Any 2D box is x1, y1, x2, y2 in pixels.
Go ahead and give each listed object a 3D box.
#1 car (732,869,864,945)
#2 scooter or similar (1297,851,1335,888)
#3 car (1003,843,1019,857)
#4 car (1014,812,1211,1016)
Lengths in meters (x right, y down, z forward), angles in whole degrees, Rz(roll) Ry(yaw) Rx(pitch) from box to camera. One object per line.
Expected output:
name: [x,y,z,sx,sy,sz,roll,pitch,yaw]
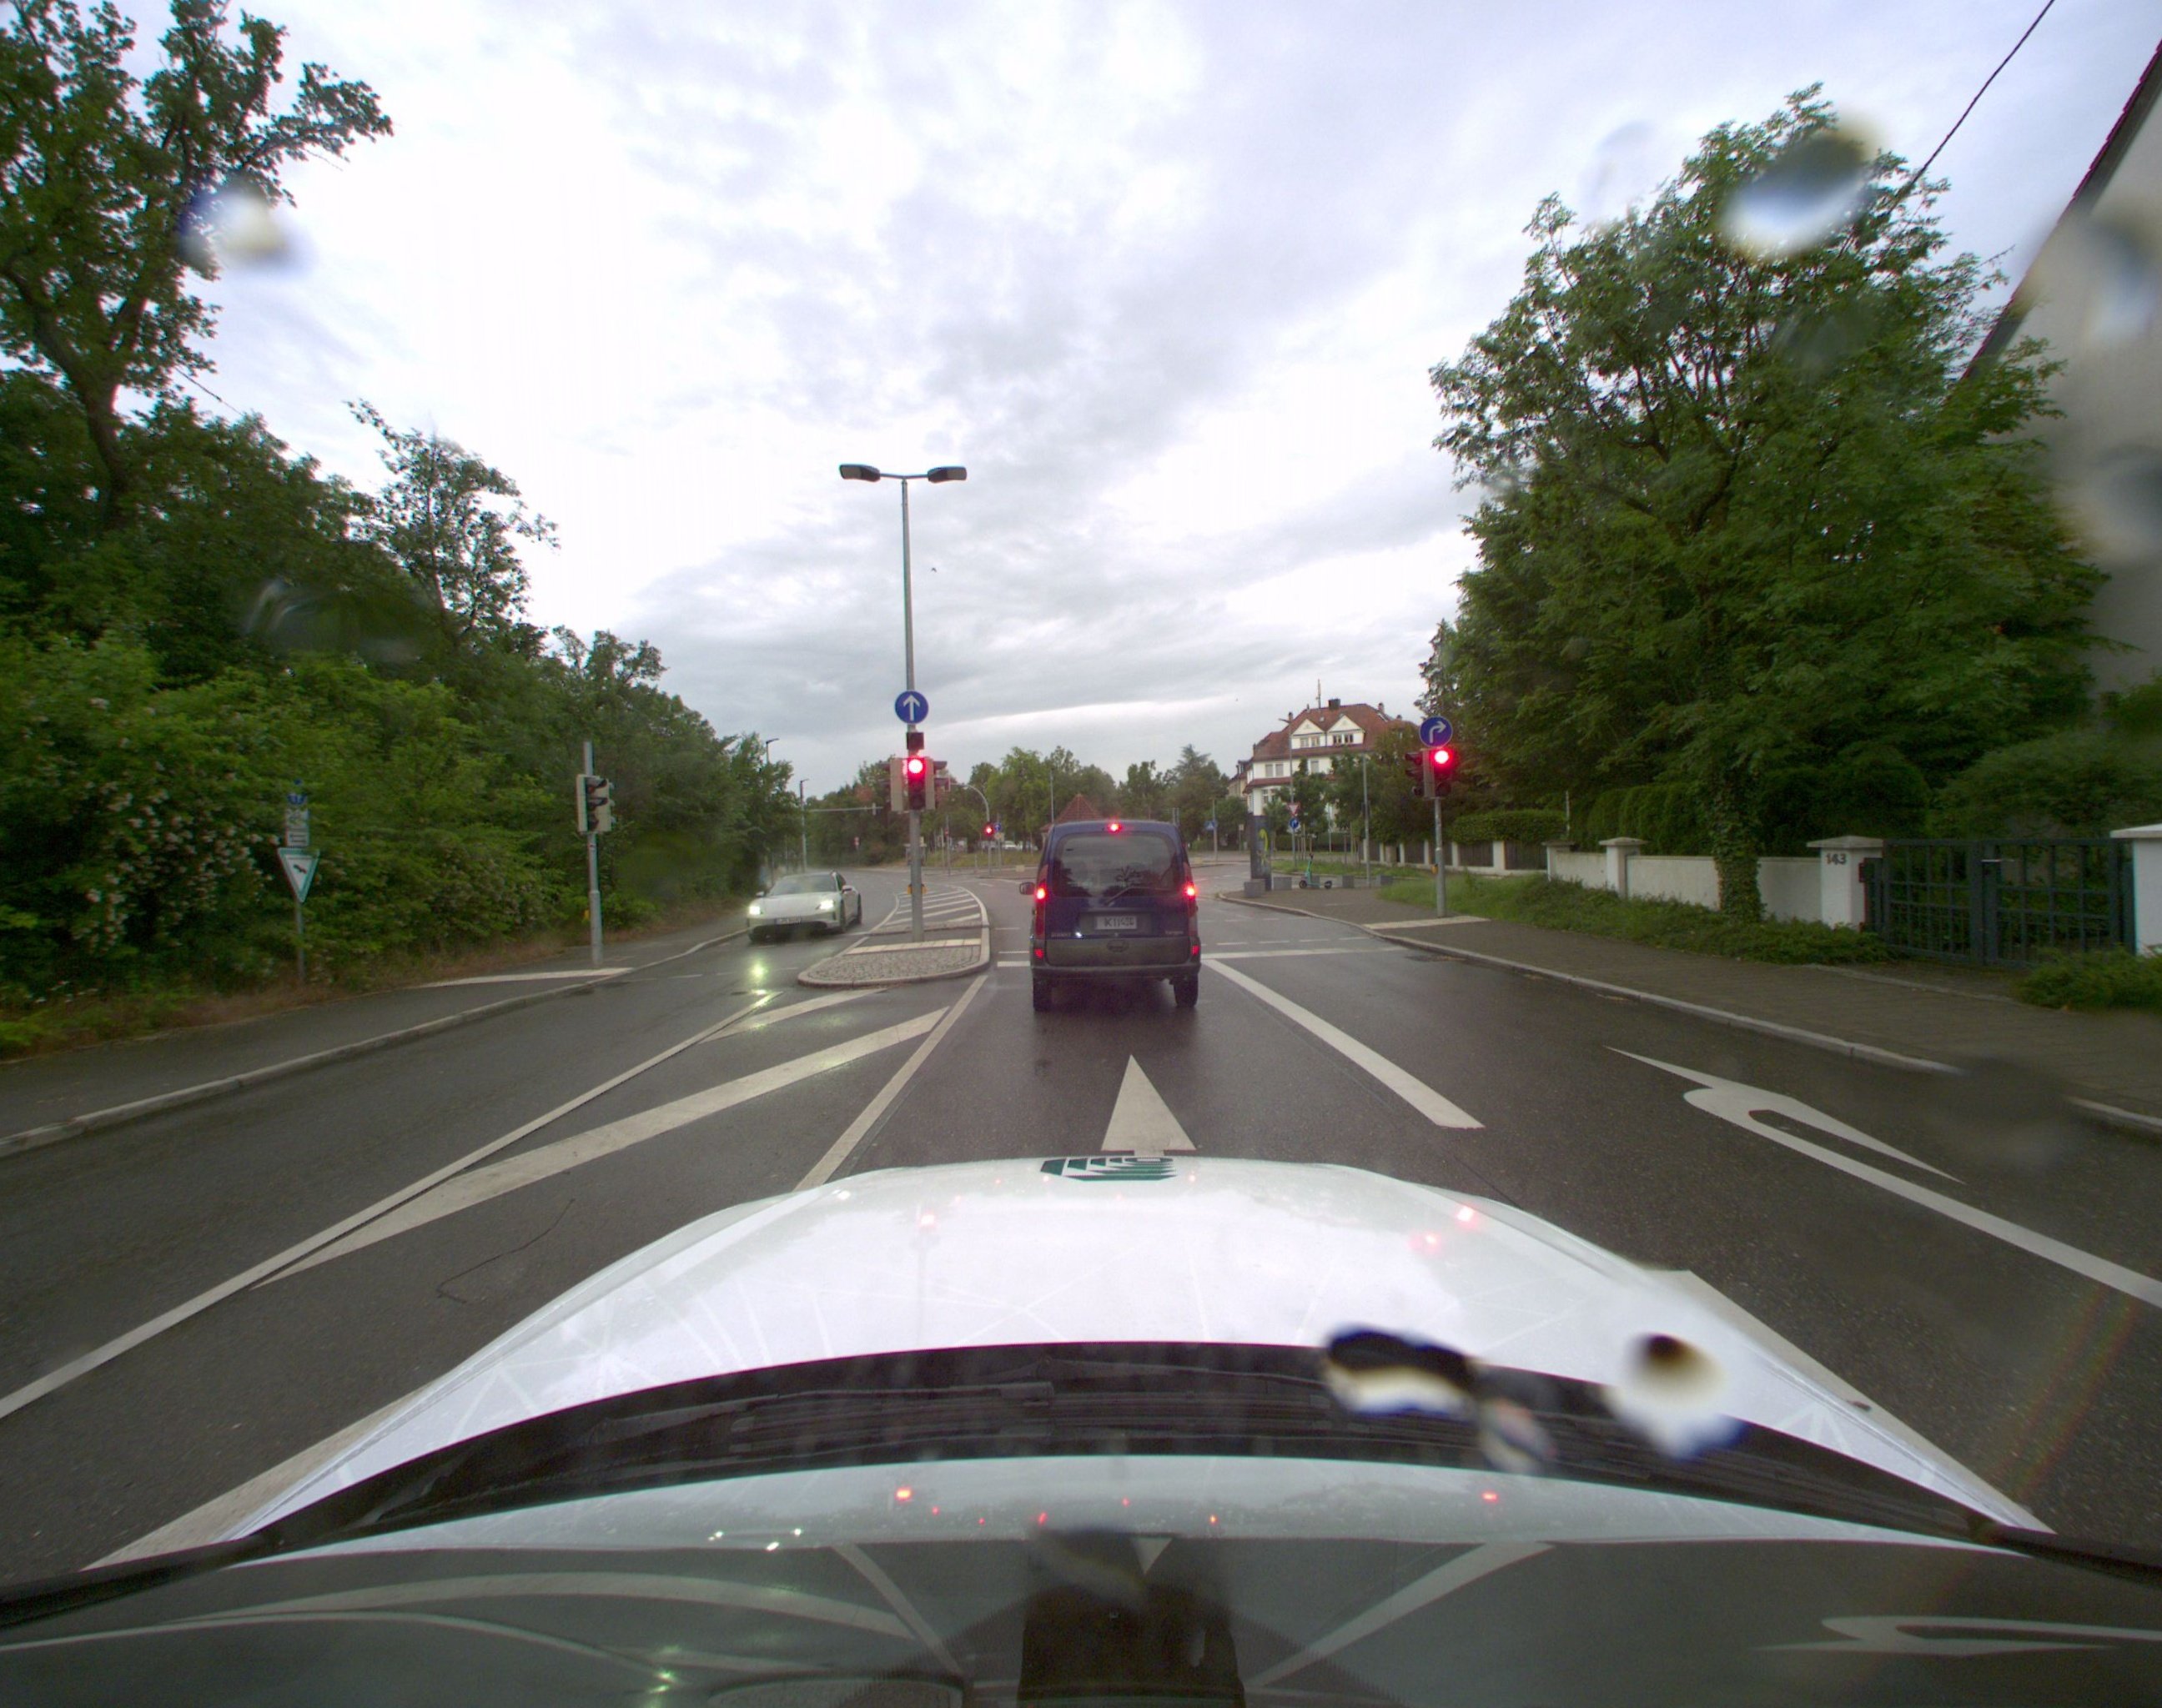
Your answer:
car: [-6.358,1.119,18.857,1.993,1.311,4.347,-5,1,-8]
scooter or similar: [8.067,0.519,27.998,1.145,1.219,0.406,-2,-1,1]
car: [-9.531,-0.489,110.662,1.992,1.812,3.989,-1,-1,-8]
car: [0.283,0.524,9.262,1.726,1.786,3.999,-1,0,0]
